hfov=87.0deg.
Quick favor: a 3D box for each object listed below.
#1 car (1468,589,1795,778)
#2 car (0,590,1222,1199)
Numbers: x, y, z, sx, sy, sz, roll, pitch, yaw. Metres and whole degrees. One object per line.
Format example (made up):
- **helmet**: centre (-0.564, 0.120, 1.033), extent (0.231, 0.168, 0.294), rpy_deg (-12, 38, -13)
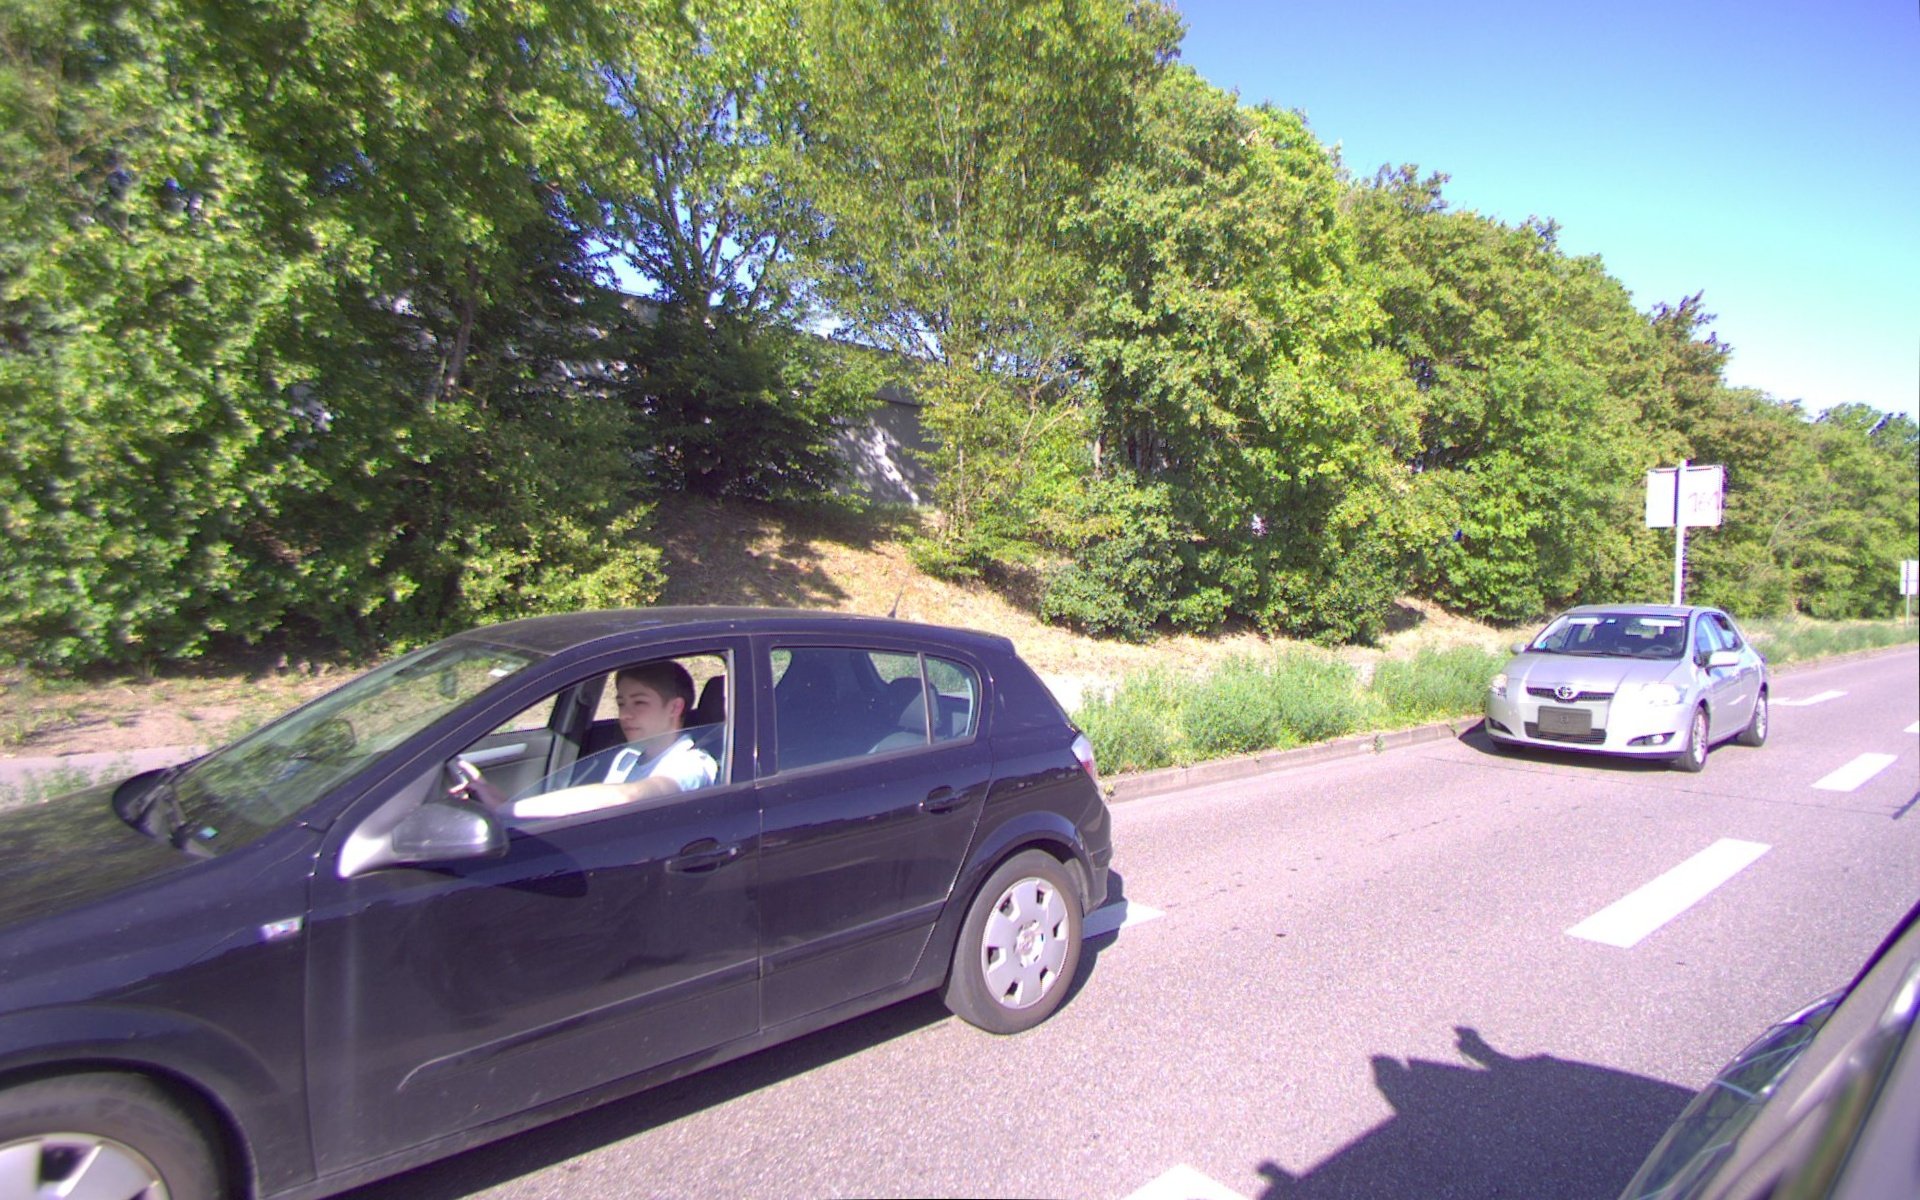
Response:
- **car**: centre (6.969, 0.692, 10.354), extent (4.036, 1.556, 1.786), rpy_deg (0, 0, -41)
- **car**: centre (-1.144, 0.703, 3.249), extent (4.295, 1.460, 1.737), rpy_deg (0, 0, -41)
